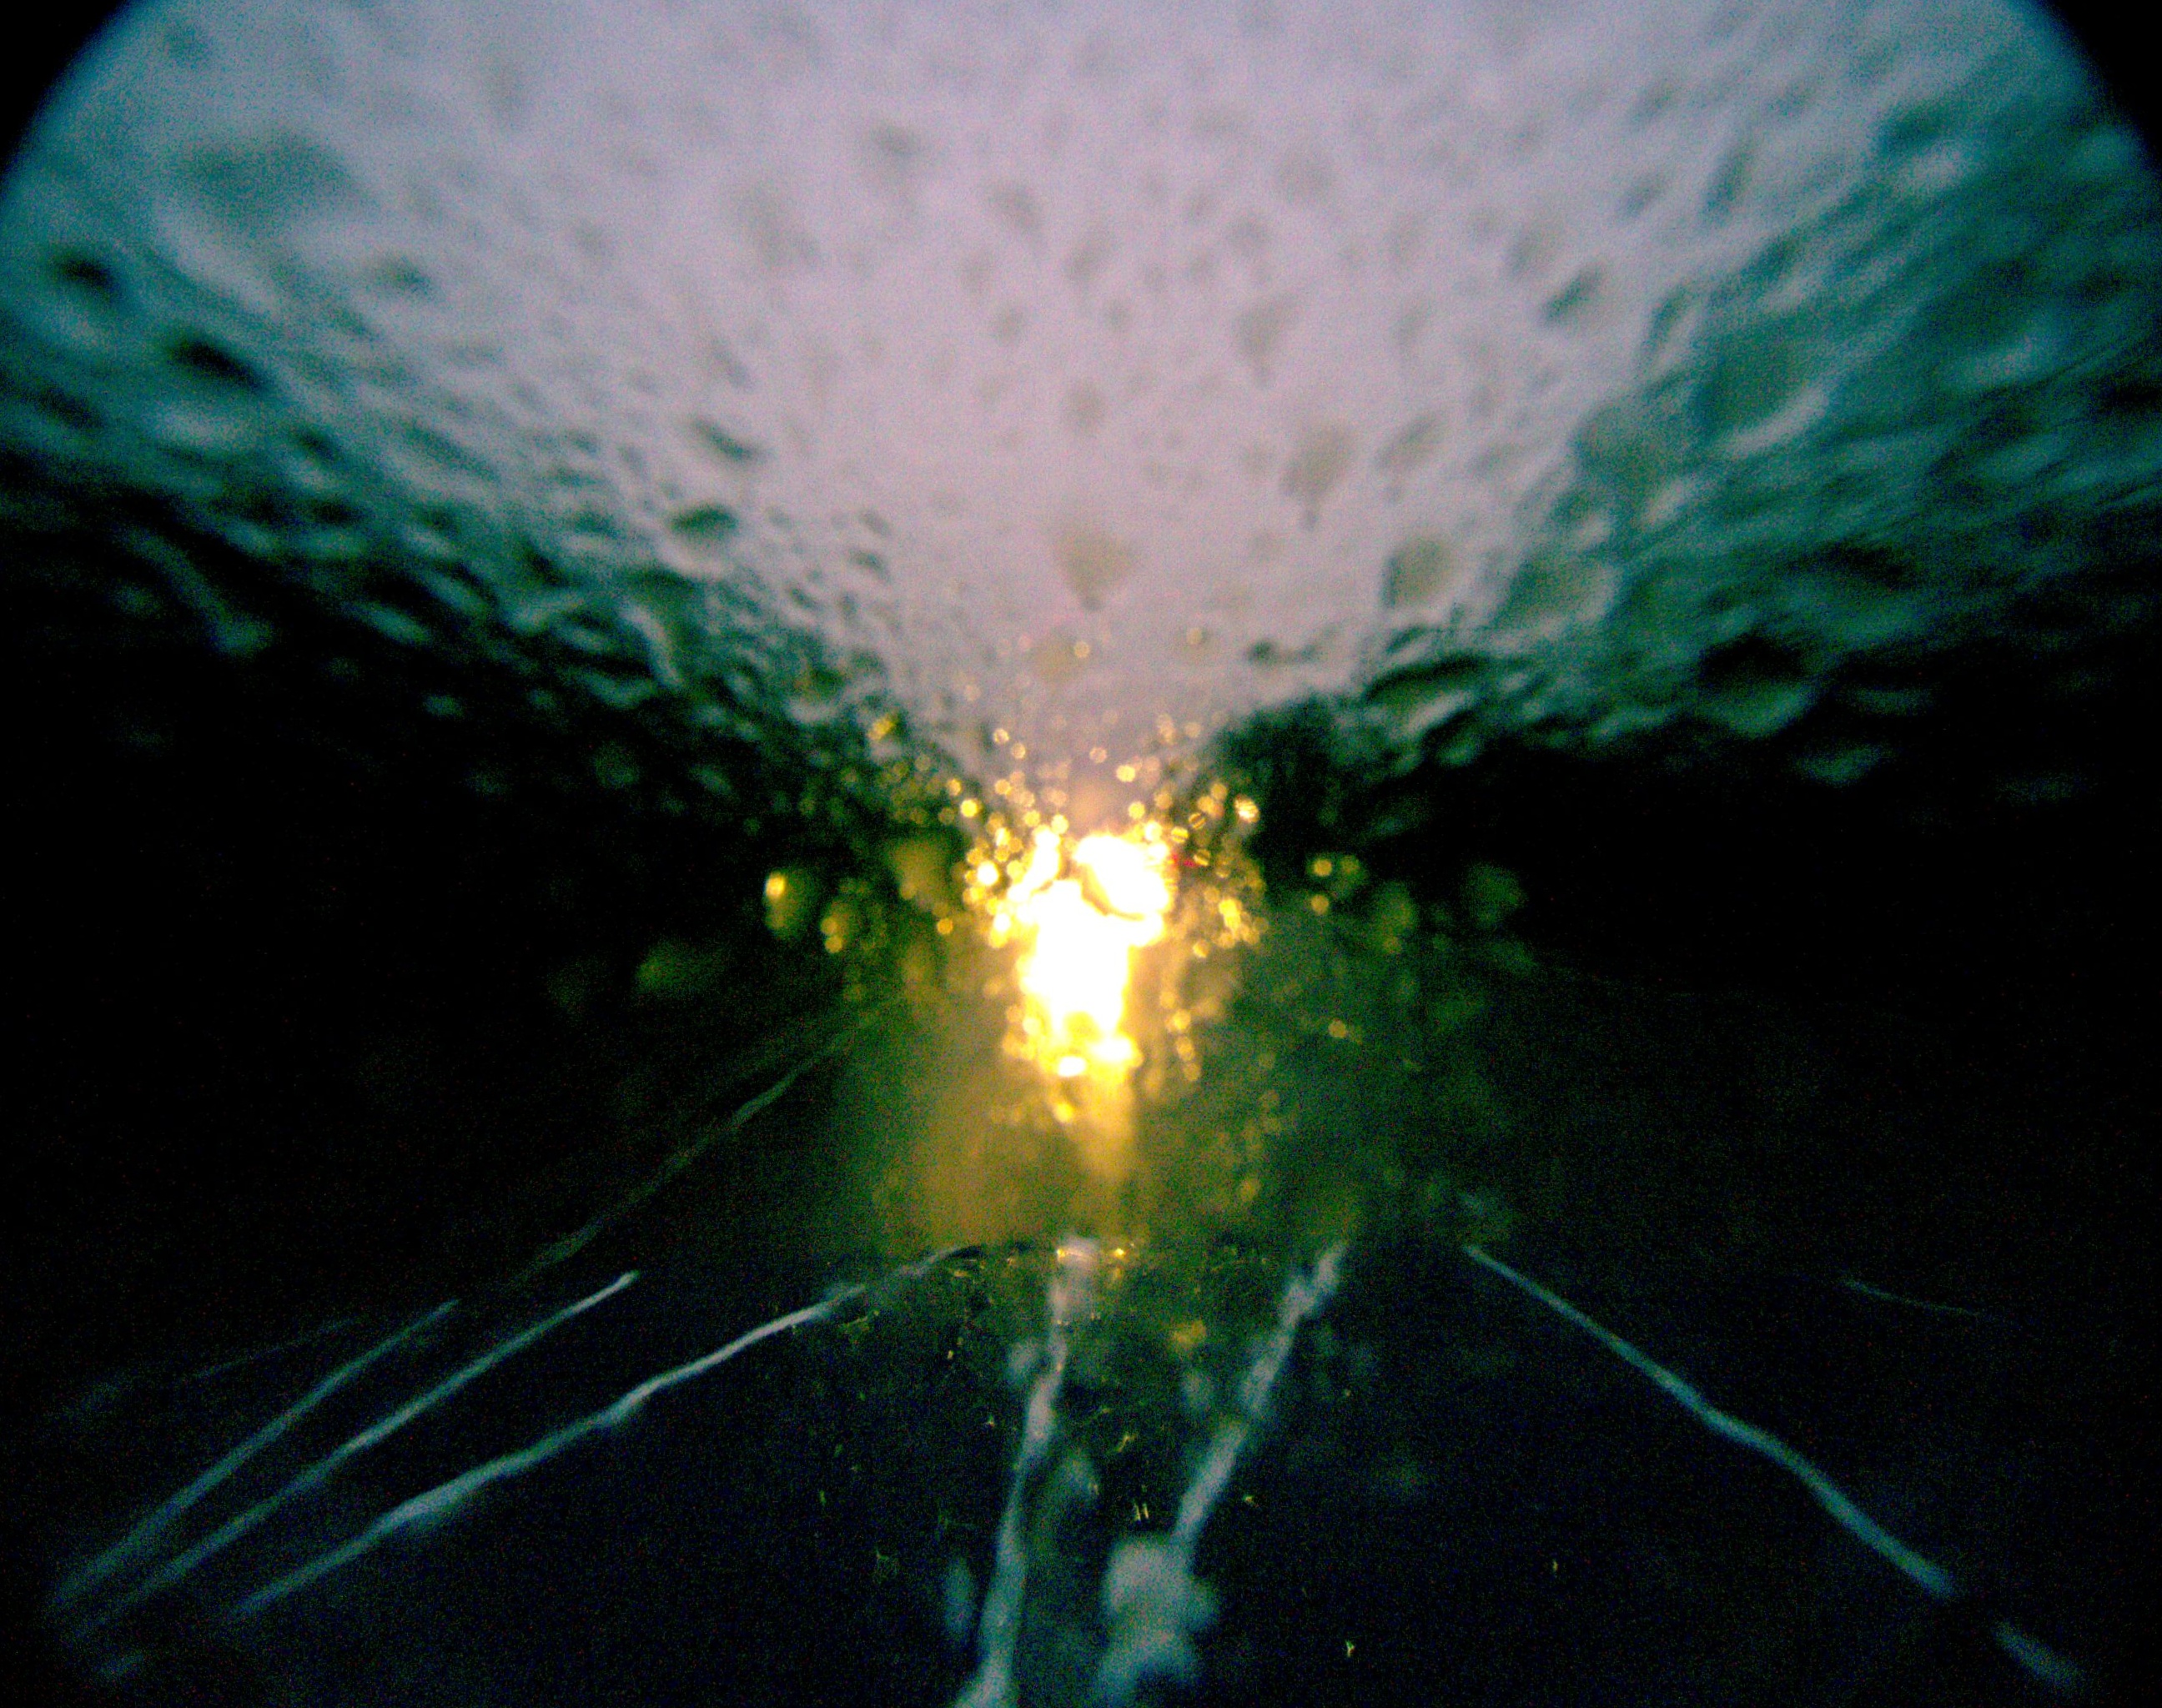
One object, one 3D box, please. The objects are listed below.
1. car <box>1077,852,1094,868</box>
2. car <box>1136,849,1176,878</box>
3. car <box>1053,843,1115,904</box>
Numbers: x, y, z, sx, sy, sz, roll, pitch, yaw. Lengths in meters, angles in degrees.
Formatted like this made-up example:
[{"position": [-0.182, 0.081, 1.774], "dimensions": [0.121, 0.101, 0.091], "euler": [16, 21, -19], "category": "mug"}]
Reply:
[{"position": [0.574, 0.709, 94.781], "dimensions": [1.998, 1.752, 4.371], "euler": [-2, 1, 1], "category": "car"}, {"position": [4.341, 0.519, 44.326], "dimensions": [1.877, 1.597, 4.195], "euler": [-2, 0, 0], "category": "car"}, {"position": [0.170, 0.538, 23.948], "dimensions": [1.572, 1.701, 4.001], "euler": [-2, 1, 5], "category": "car"}]
